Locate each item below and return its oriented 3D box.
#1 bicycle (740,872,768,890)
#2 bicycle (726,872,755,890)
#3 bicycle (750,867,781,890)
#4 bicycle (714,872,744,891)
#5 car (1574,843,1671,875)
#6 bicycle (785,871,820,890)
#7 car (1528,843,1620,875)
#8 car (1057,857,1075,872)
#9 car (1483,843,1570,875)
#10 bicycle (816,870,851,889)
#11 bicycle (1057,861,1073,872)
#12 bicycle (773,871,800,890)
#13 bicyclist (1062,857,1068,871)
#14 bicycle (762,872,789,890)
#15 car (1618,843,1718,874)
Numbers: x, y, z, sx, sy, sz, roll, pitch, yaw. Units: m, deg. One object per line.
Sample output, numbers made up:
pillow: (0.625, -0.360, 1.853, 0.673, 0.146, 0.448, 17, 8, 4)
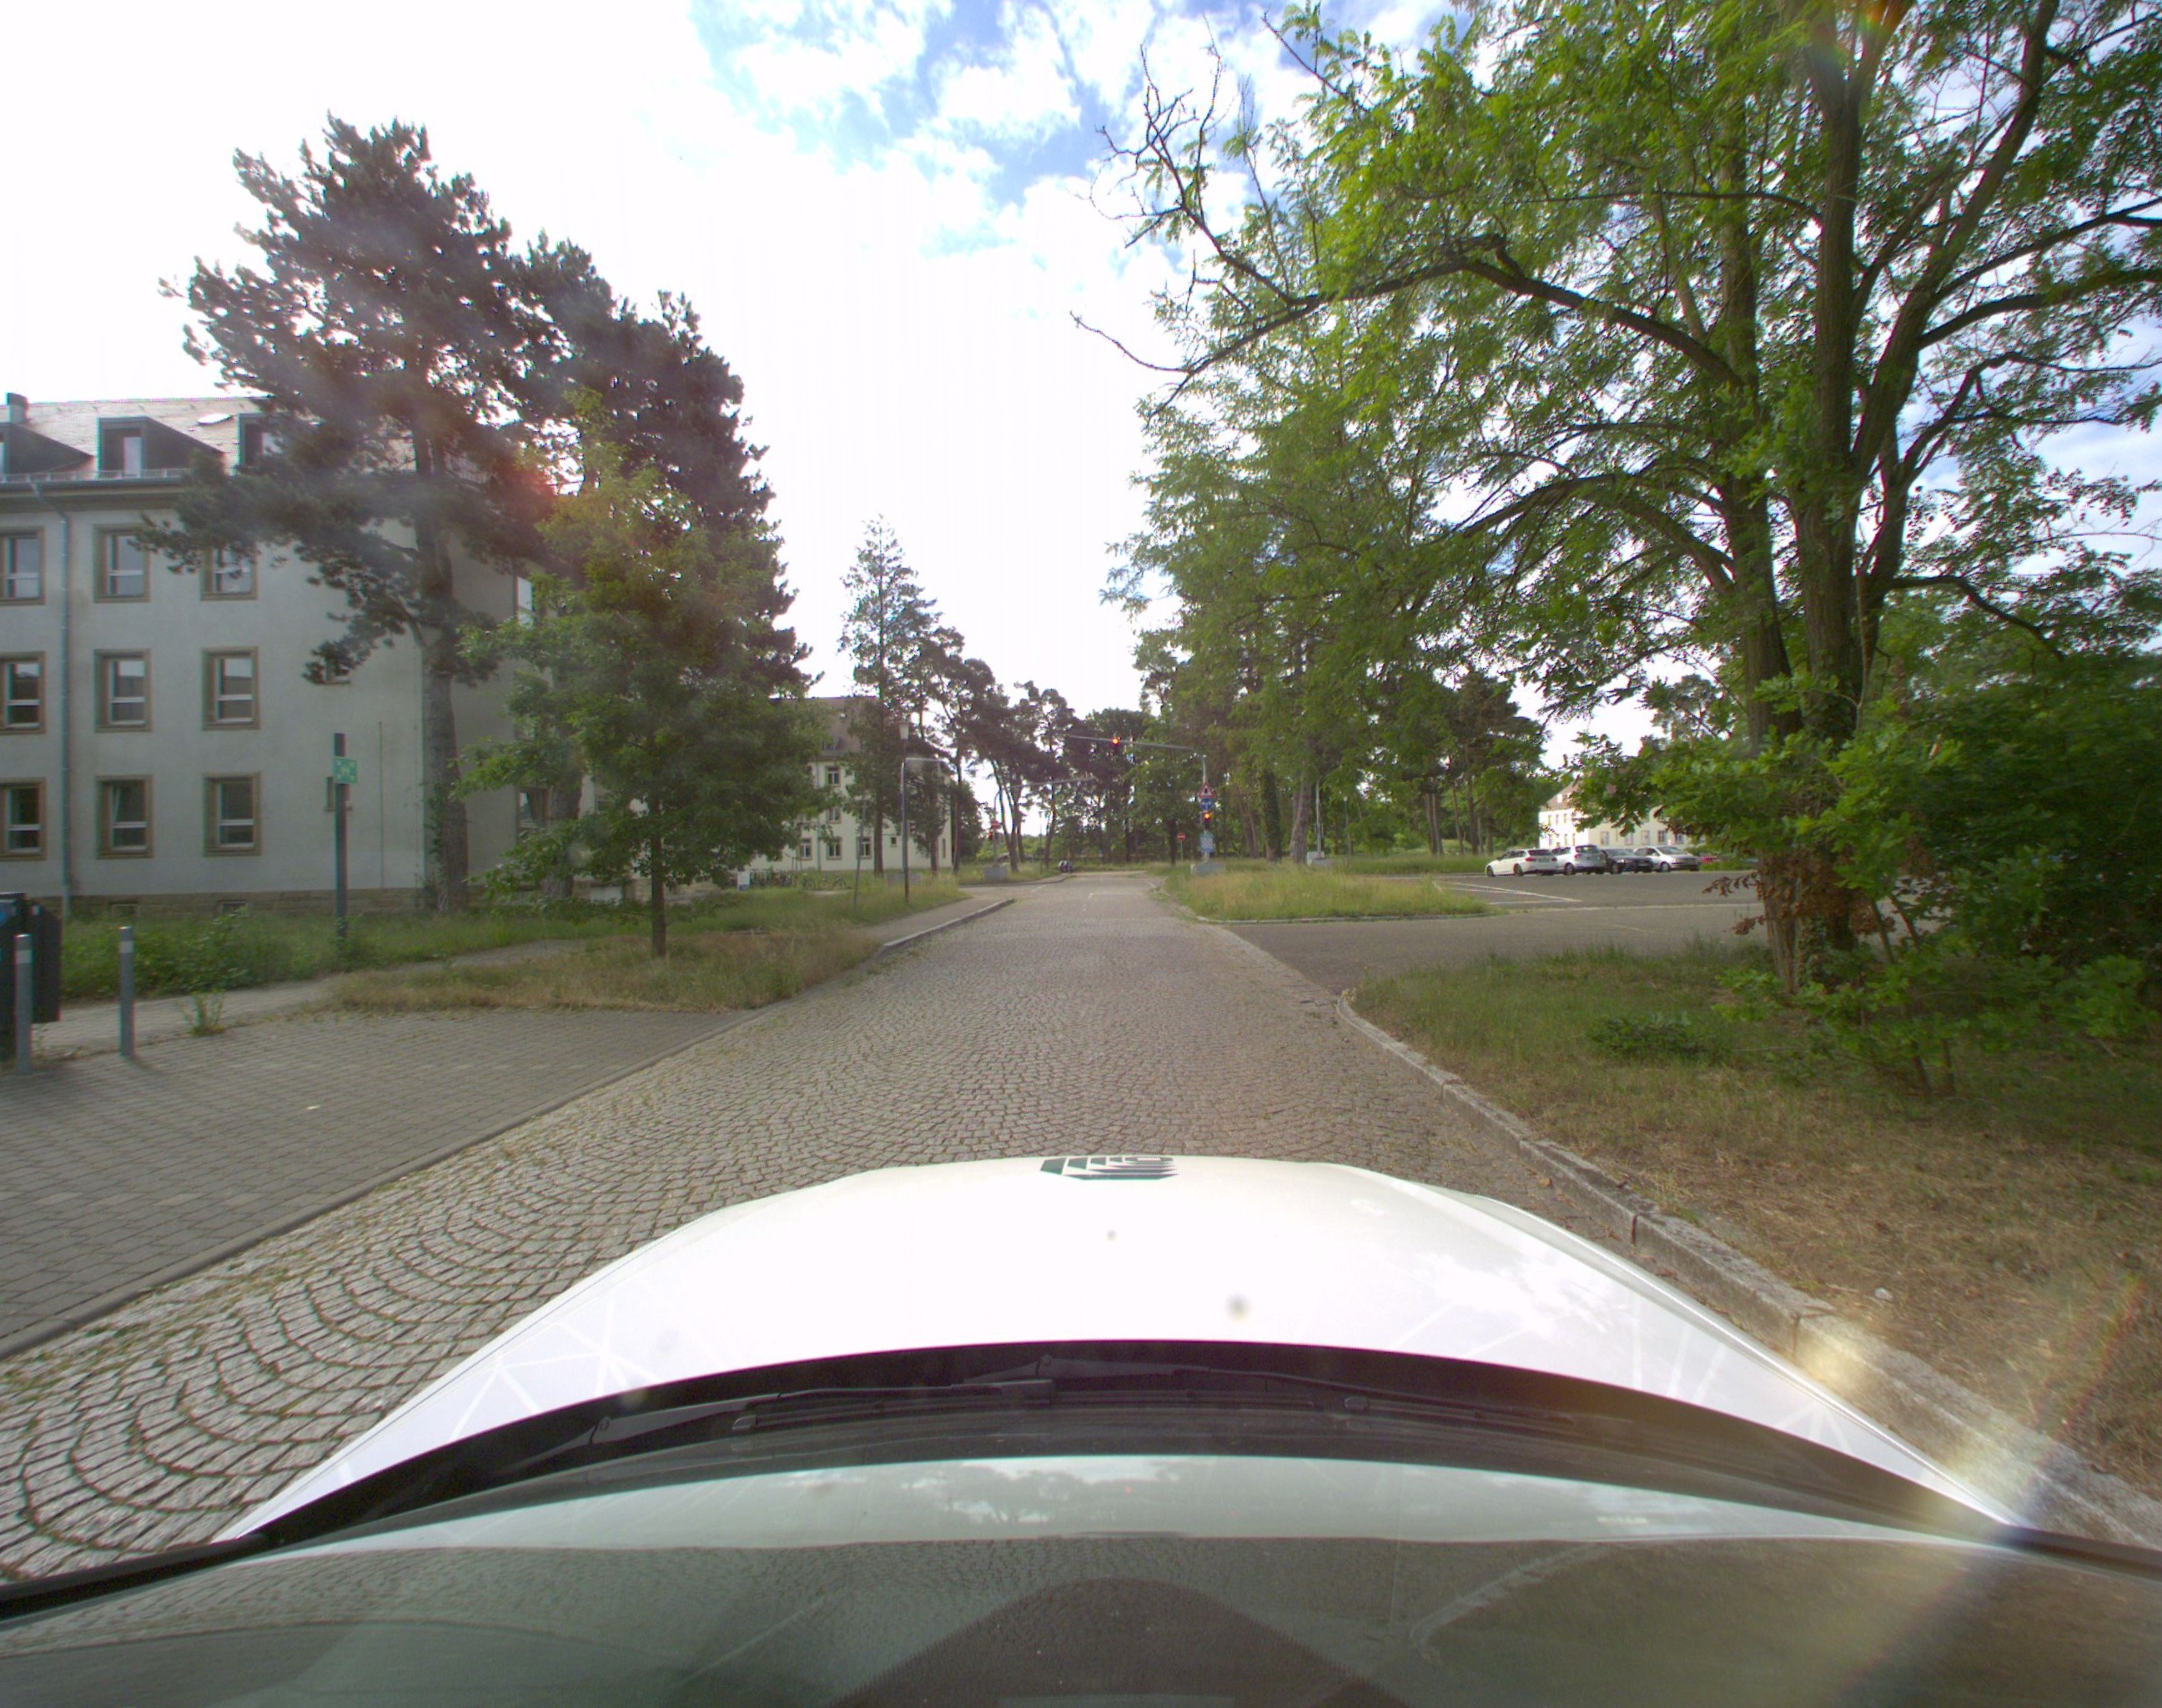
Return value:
bicycle: (-20.439, 1.675, 50.957, 0.733, 1.076, 2.274, -2, 0, 2)
bicycle: (-21.101, 1.661, 50.478, 0.733, 1.076, 2.274, -2, 0, 2)
bicycle: (-19.647, 1.523, 50.830, 0.733, 1.386, 2.712, -2, 0, 2)
bicycle: (-21.829, 1.676, 50.567, 0.733, 1.076, 2.274, -2, 0, 2)
car: (28.120, 0.308, 42.494, 1.988, 1.481, 4.421, -2, -2, -2)
bicycle: (-16.831, 1.575, 49.235, 1.848, 1.076, 0.739, -2, -1, 3)
car: (25.450, 0.305, 42.264, 1.988, 1.481, 4.421, -2, -2, -2)
car: (-1.948, 1.316, 106.299, 2.048, 1.846, 4.001, -2, 0, 1)
car: (22.935, 0.305, 42.144, 1.988, 1.481, 4.421, -2, -2, -2)
bicycle: (-14.948, 1.539, 49.230, 1.848, 1.076, 0.832, -2, -1, 3)
bicycle: (-1.915, 1.551, 99.319, 1.963, 1.320, 0.518, 0, -1, -1)
bicycle: (-18.271, 1.629, 50.521, 0.733, 1.076, 2.274, -2, 0, 2)
bicyclist: (-1.977, 1.209, 99.325, 0.746, 1.671, 0.526, 0, -1, -1)
bicycle: (-18.914, 1.651, 50.455, 0.733, 1.076, 2.274, -2, 0, 2)
car: (30.797, 0.292, 42.909, 1.988, 1.523, 4.421, 0, -2, -2)
